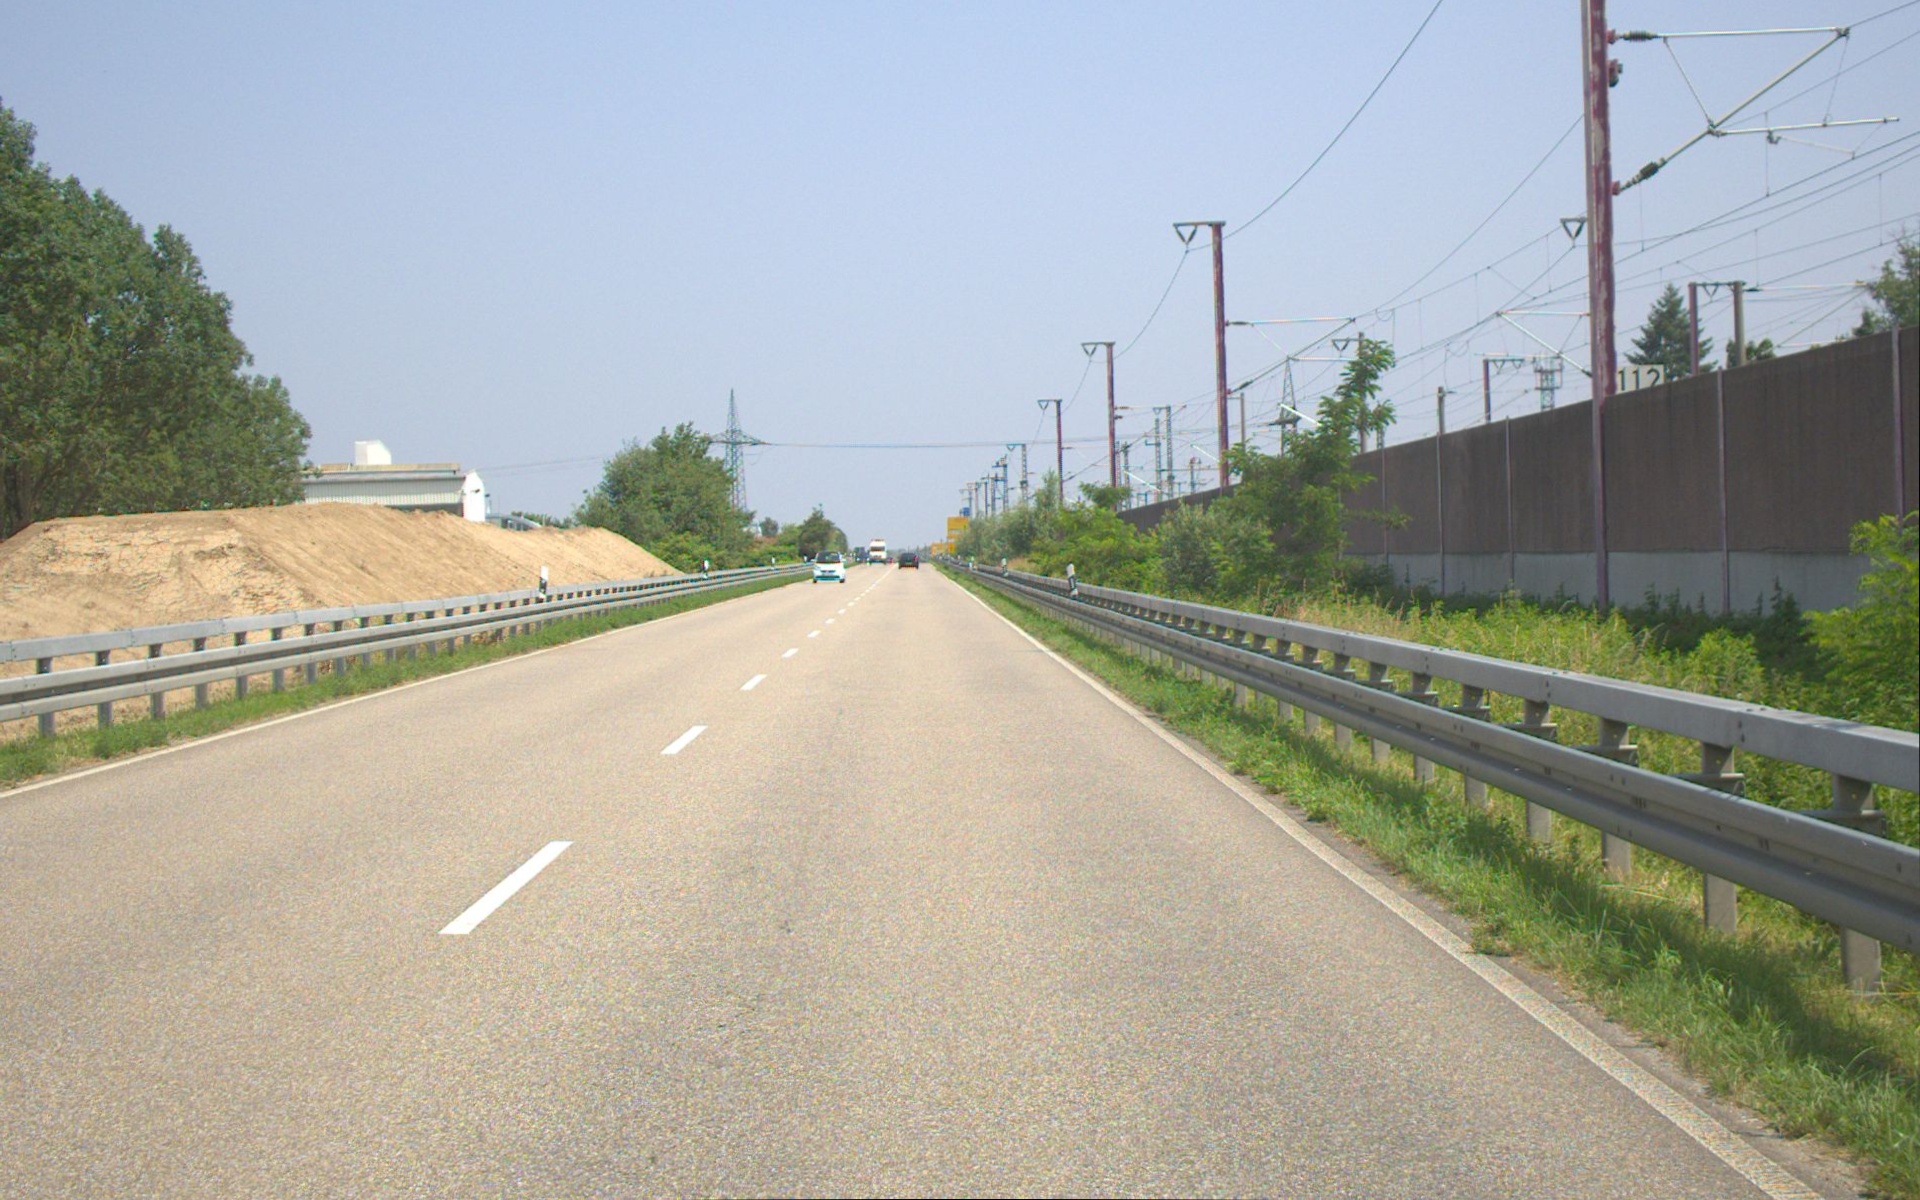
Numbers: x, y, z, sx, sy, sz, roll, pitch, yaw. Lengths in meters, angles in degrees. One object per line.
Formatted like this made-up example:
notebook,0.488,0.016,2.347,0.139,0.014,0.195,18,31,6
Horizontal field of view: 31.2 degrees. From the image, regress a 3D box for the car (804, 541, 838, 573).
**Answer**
car,-6.798,-2.127,168.880,1.595,1.571,3.828,0,1,-1
